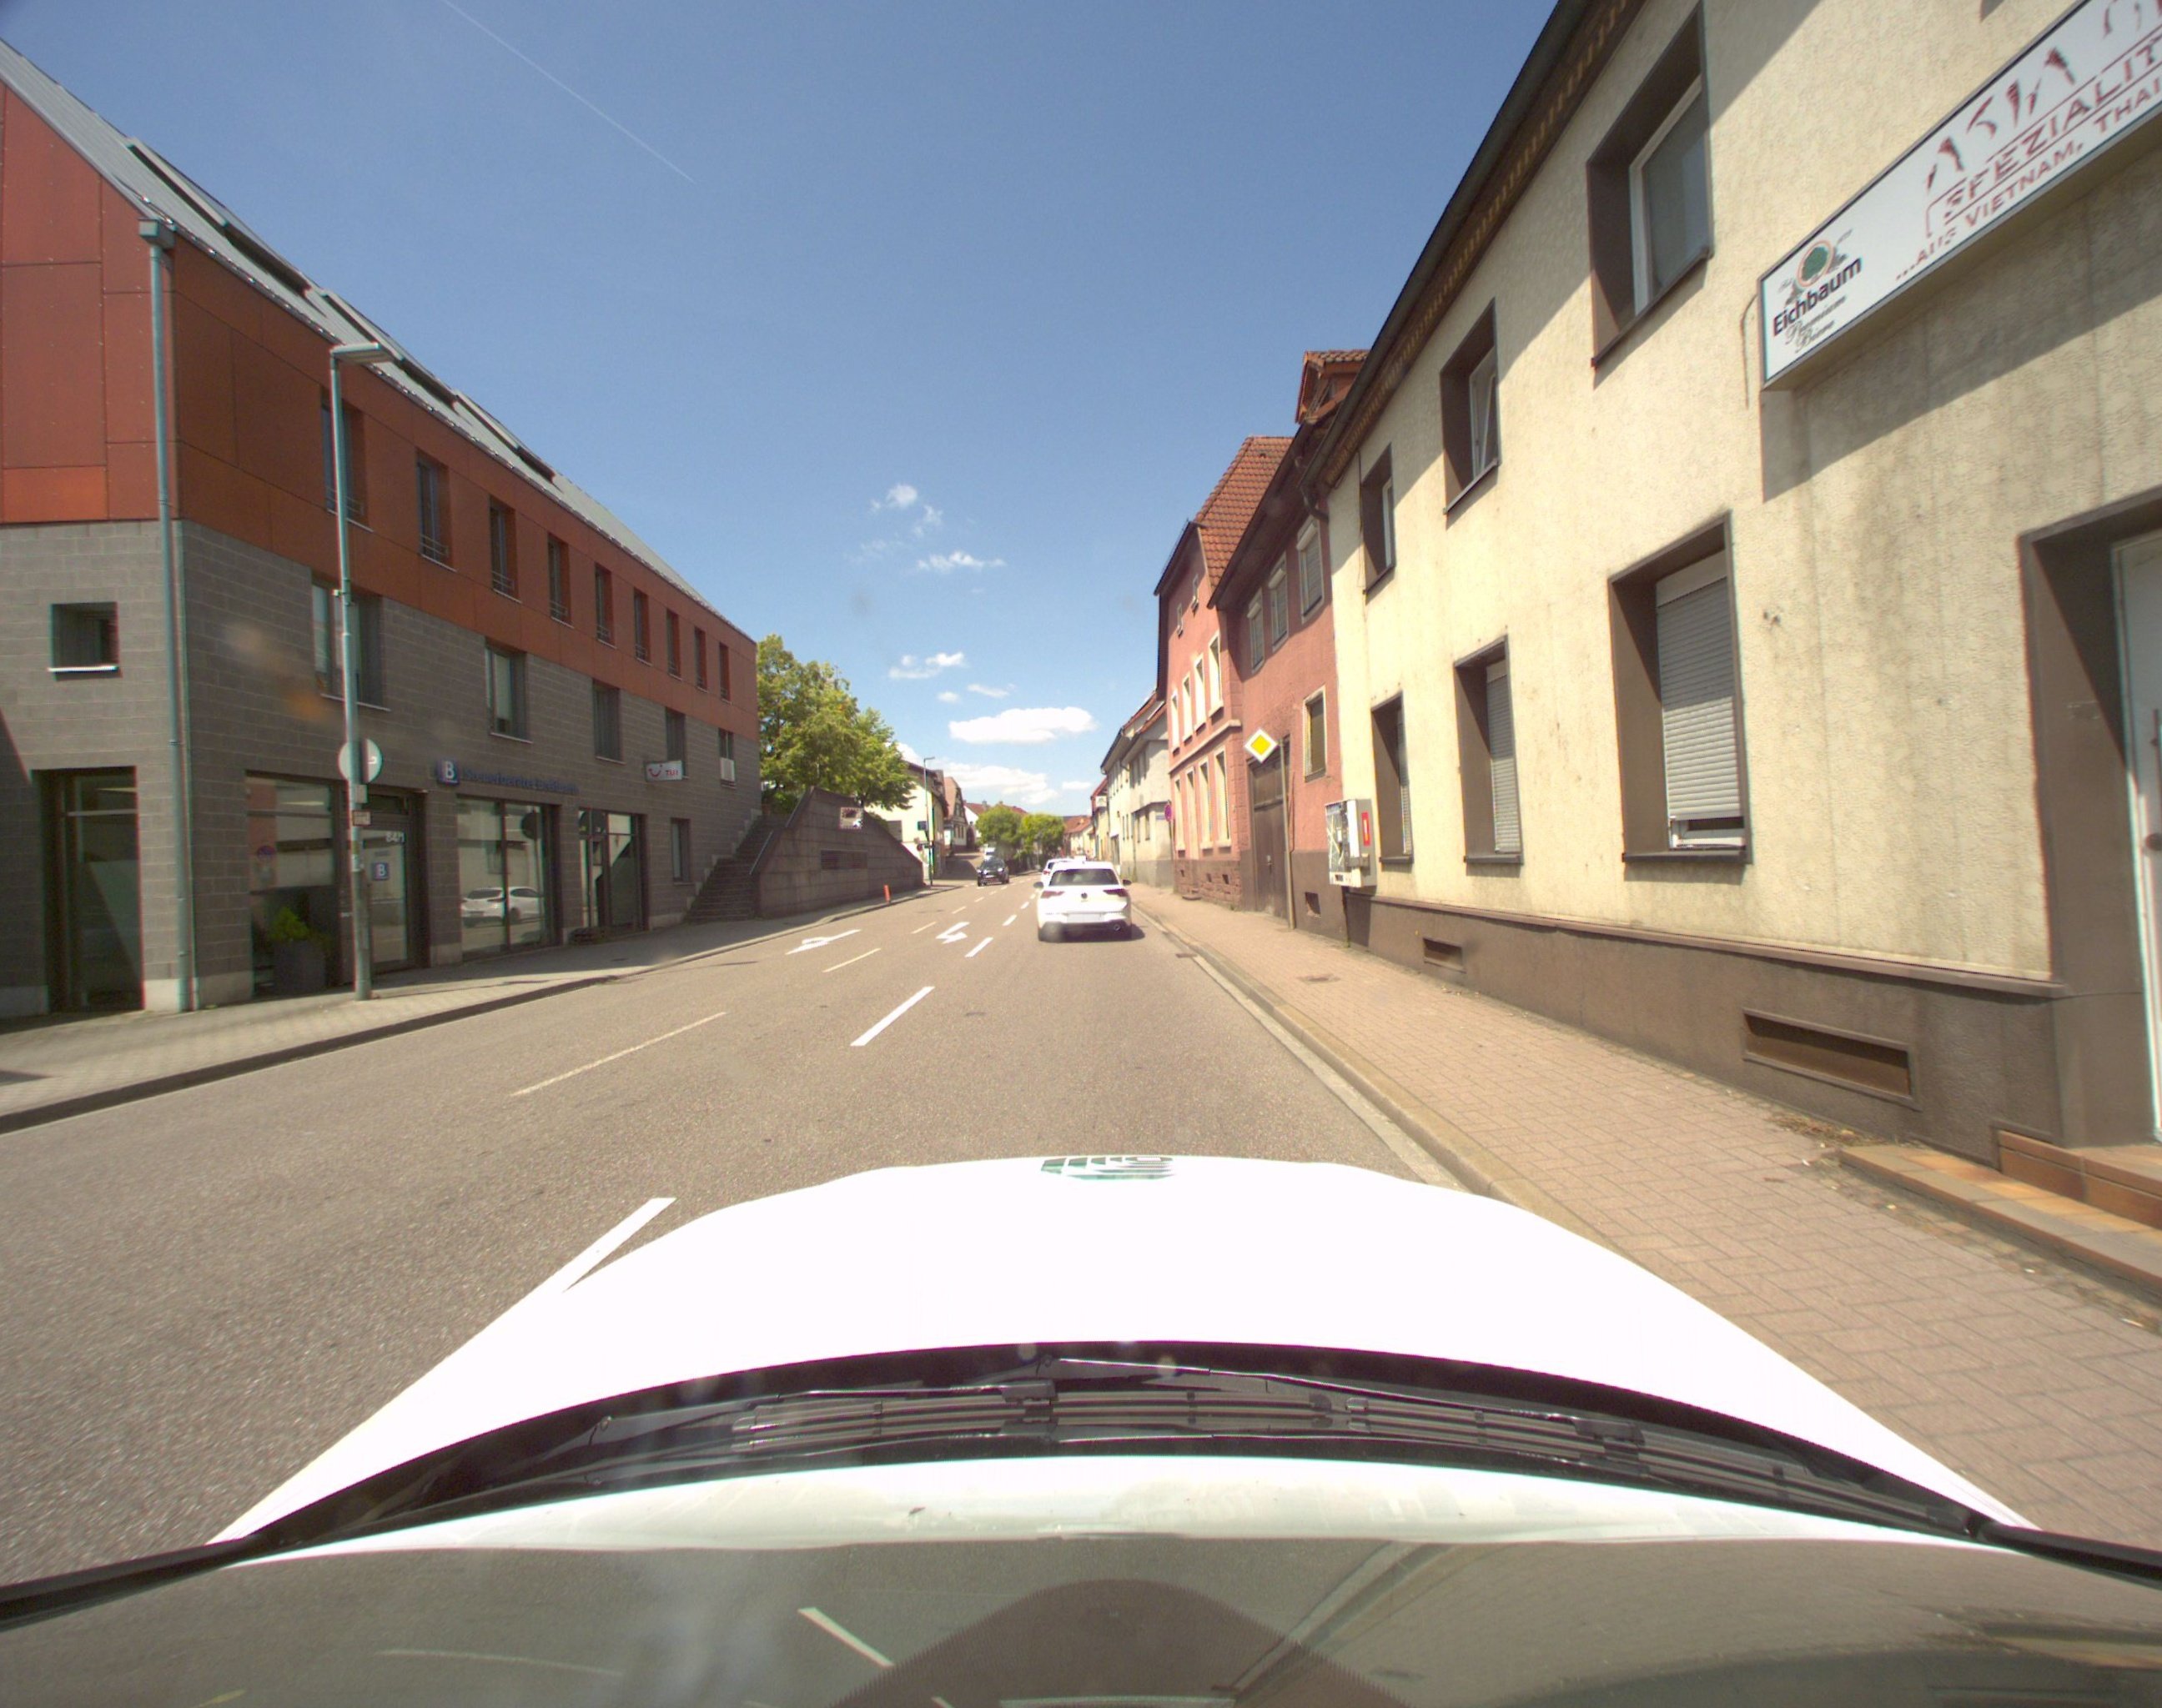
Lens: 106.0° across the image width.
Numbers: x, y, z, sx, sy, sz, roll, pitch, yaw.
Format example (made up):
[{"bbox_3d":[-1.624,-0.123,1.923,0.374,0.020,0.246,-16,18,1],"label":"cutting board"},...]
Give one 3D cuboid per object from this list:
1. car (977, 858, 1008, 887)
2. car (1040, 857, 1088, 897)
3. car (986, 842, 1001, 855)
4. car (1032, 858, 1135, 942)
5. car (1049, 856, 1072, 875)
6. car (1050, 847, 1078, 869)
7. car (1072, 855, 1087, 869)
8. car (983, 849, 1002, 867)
[{"bbox_3d":[-5.598,1.141,51.846,1.666,1.657,4.012,-2,0,-4],"label":"car"},{"bbox_3d":[-0.741,0.896,32.570,1.804,1.468,3.995,0,-1,-3],"label":"car"},{"bbox_3d":[-11.089,-0.695,103.181,1.572,1.361,3.854,-2,5,-2],"label":"car"},{"bbox_3d":[0.156,0.844,16.394,1.800,1.468,4.003,-1,-1,3],"label":"car"},{"bbox_3d":[-1.779,0.994,71.215,1.769,1.538,4.000,-2,0,0],"label":"car"},{"bbox_3d":[-1.188,0.297,55.343,1.803,1.468,3.997,-1,-1,-2],"label":"car"},{"bbox_3d":[-0.152,1.024,109.499,1.769,1.765,4.001,-2,0,1],"label":"car"},{"bbox_3d":[-9.836,0.418,90.631,1.689,1.542,3.854,-2,5,-2],"label":"car"}]
